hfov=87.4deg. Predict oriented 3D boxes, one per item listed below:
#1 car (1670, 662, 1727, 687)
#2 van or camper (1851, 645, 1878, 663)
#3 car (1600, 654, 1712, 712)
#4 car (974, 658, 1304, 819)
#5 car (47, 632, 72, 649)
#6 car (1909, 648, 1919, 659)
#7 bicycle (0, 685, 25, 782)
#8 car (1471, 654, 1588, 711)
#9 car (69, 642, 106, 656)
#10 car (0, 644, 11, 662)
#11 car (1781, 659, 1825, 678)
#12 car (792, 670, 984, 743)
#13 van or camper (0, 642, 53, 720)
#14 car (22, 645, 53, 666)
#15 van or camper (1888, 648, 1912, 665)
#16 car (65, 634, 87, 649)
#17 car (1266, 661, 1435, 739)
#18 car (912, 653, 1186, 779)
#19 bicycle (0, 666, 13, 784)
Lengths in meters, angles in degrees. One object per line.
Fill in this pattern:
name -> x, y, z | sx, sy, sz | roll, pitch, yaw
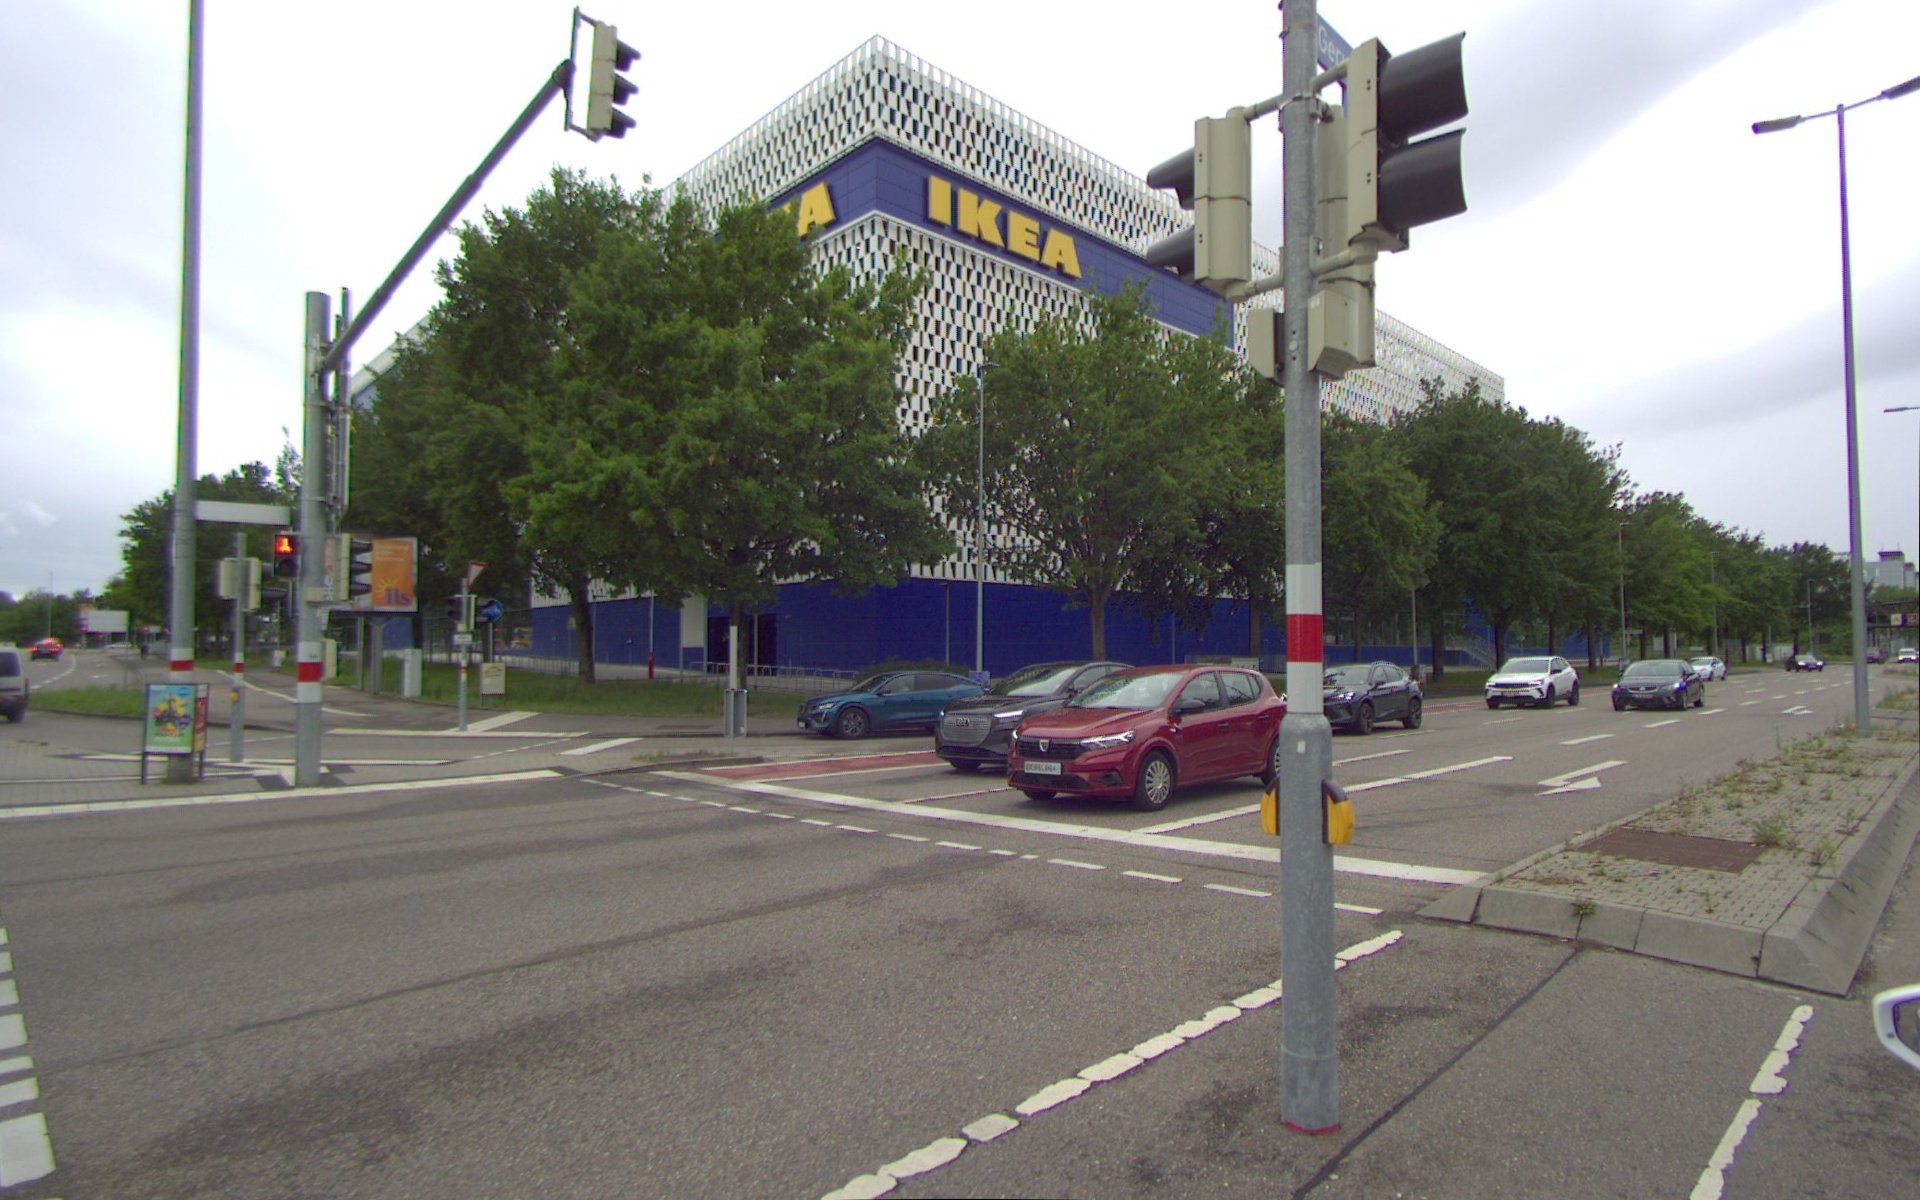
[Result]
car -> 46.695, 4.696, 63.469 | 4.296, 1.481, 1.842 | 1, -5, -40
van or camper -> 105.332, 6.259, 116.953 | 4.856, 2.012, 1.857 | 2, -4, -44
car -> 20.459, 2.397, 29.459 | 4.302, 1.481, 1.840 | 2, -5, -44
car -> 2.182, 1.463, 11.520 | 4.053, 1.506, 1.718 | 4, -6, -45
car -> -106.521, 4.787, 118.882 | 1.831, 1.911, 3.884 | 0, -3, -37
car -> 146.996, 8.194, 154.022 | 3.313, 1.466, 1.739 | 0, -1, -41
bicycle -> -12.953, 1.660, 12.453 | 1.916, 1.181, 0.506 | 2, -1, -18
car -> 18.410, 2.638, 32.386 | 4.546, 1.614, 1.976 | 2, -7, -44
car -> -125.218, 7.015, 144.198 | 3.895, 1.911, 1.826 | 1, 0, -42
car -> -81.364, 4.469, 84.484 | 1.771, 1.471, 3.891 | 3, -4, -38
car -> 72.394, 5.849, 86.251 | 4.213, 1.521, 1.905 | 3, -6, -37
car -> -1.626, 2.370, 22.923 | 4.068, 1.506, 1.690 | 2, -4, -29
van or camper -> -23.670, 1.886, 23.690 | 4.314, 1.744, 1.997 | -1, -1, 27
car -> -82.349, 4.934, 89.690 | 1.835, 1.677, 4.308 | 5, -4, -42
van or camper -> 112.301, 6.742, 120.020 | 4.376, 1.769, 1.739 | 2, -6, -44
car -> -110.477, 5.155, 125.595 | 1.832, 1.742, 3.882 | 0, -1, -38
car -> 8.852, 2.195, 22.579 | 1.862, 1.564, 4.570 | -5, -6, 44
car -> 1.483, 1.710, 15.485 | 1.862, 1.658, 4.307 | -7, -7, 44
bicycle -> -12.413, 1.477, 11.682 | 1.902, 1.414, 0.595 | 1, -4, -17
